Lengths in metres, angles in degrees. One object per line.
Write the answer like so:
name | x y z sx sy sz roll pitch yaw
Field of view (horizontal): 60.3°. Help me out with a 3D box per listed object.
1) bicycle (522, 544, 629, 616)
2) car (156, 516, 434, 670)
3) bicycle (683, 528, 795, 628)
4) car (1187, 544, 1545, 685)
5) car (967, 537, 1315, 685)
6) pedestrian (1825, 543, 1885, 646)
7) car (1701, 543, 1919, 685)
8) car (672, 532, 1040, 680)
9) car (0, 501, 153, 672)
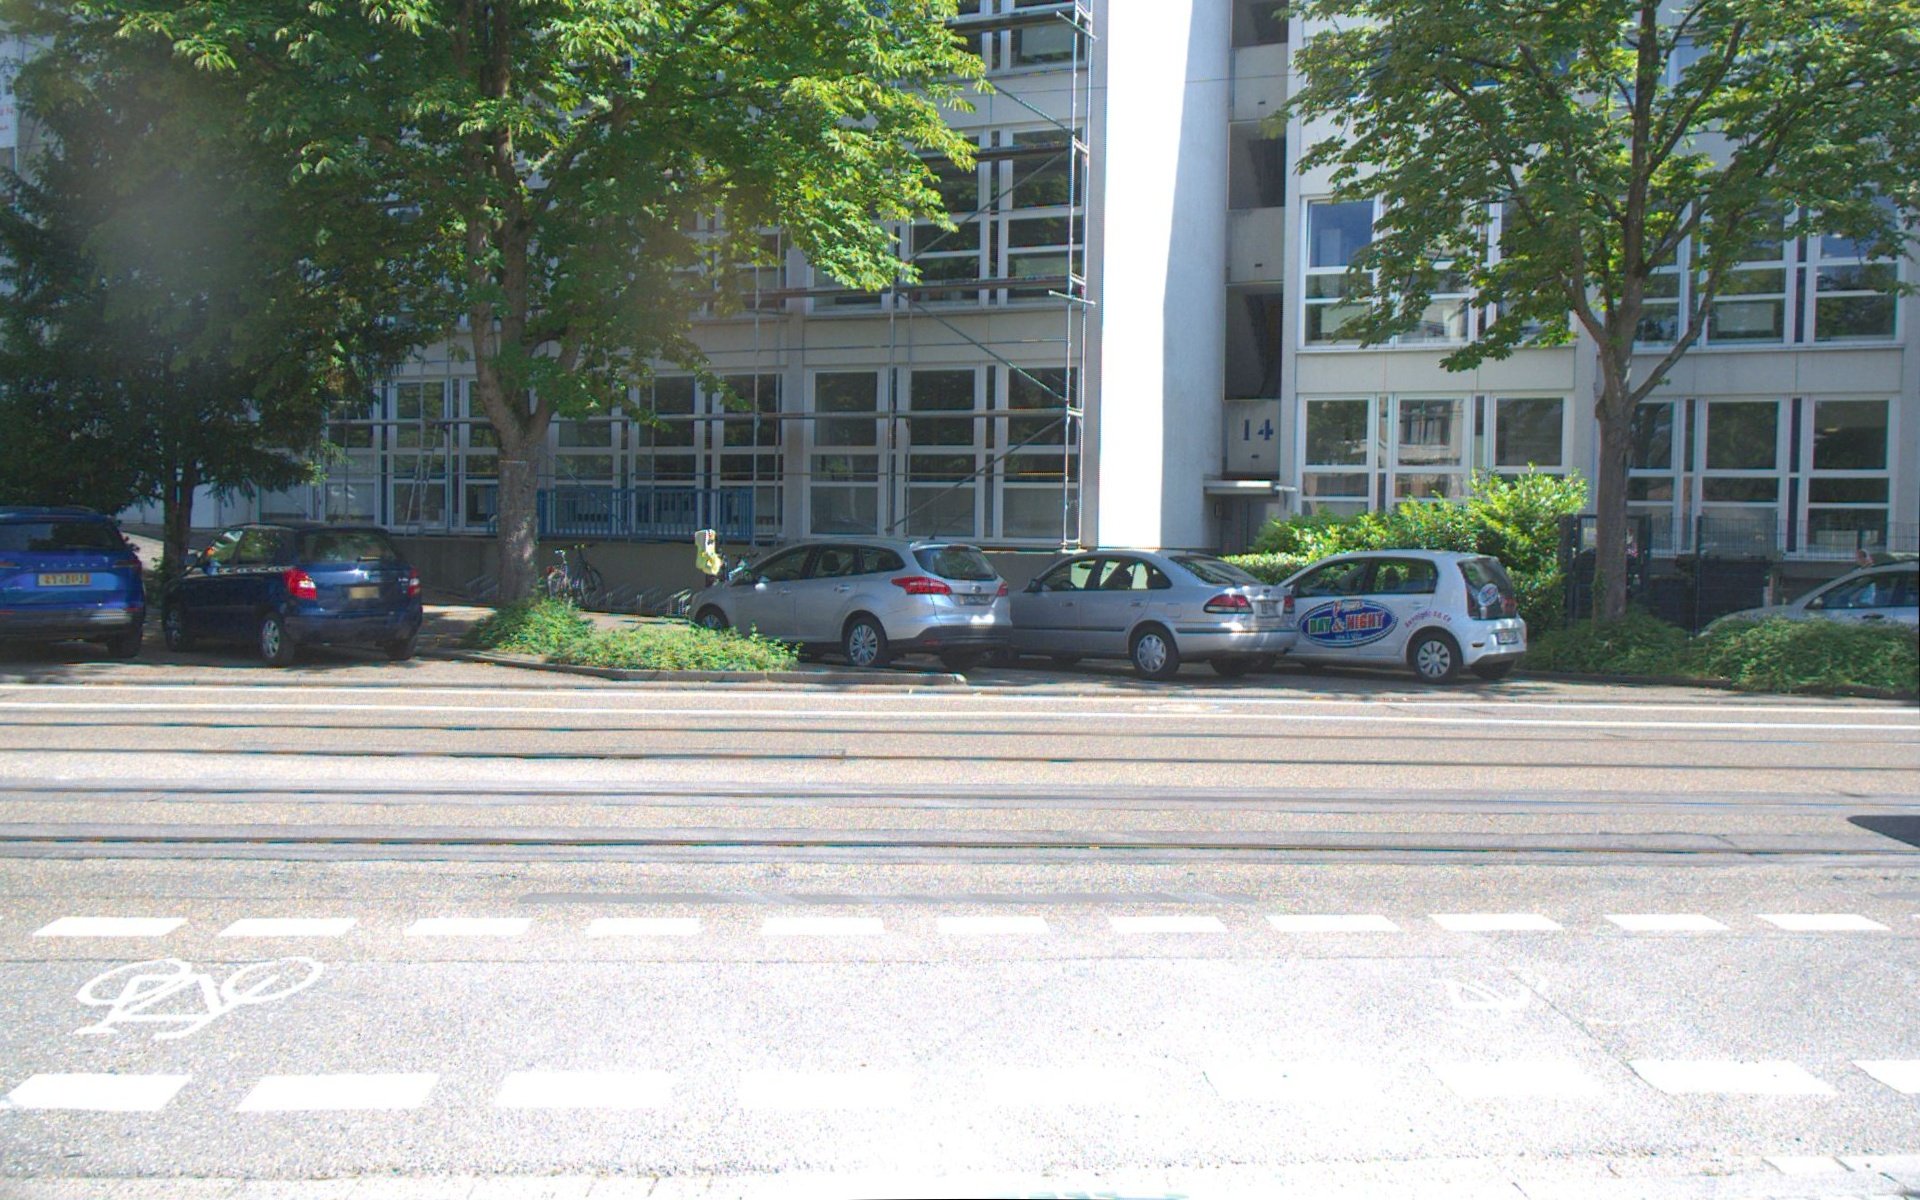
bicycle | -6.143 -0.344 26.580 0.725 1.104 2.205 1 2 15
car | -7.508 -0.141 18.552 3.396 1.557 1.567 3 3 42
bicycle | -3.423 -0.362 25.822 0.648 1.478 2.088 2 2 27
car | 4.767 0.104 19.739 3.876 1.512 1.603 1 2 43
car | 2.031 0.050 19.325 3.878 1.511 1.602 3 3 44
pedestrian | 13.043 -0.081 24.112 0.608 1.486 0.424 1 2 -6
car | 11.468 0.160 20.050 4.262 1.632 1.551 2 2 39
car | -1.307 -0.011 19.391 4.356 1.511 1.774 3 3 42
car | -10.531 -0.242 18.338 1.767 1.650 3.883 -2 5 -44
